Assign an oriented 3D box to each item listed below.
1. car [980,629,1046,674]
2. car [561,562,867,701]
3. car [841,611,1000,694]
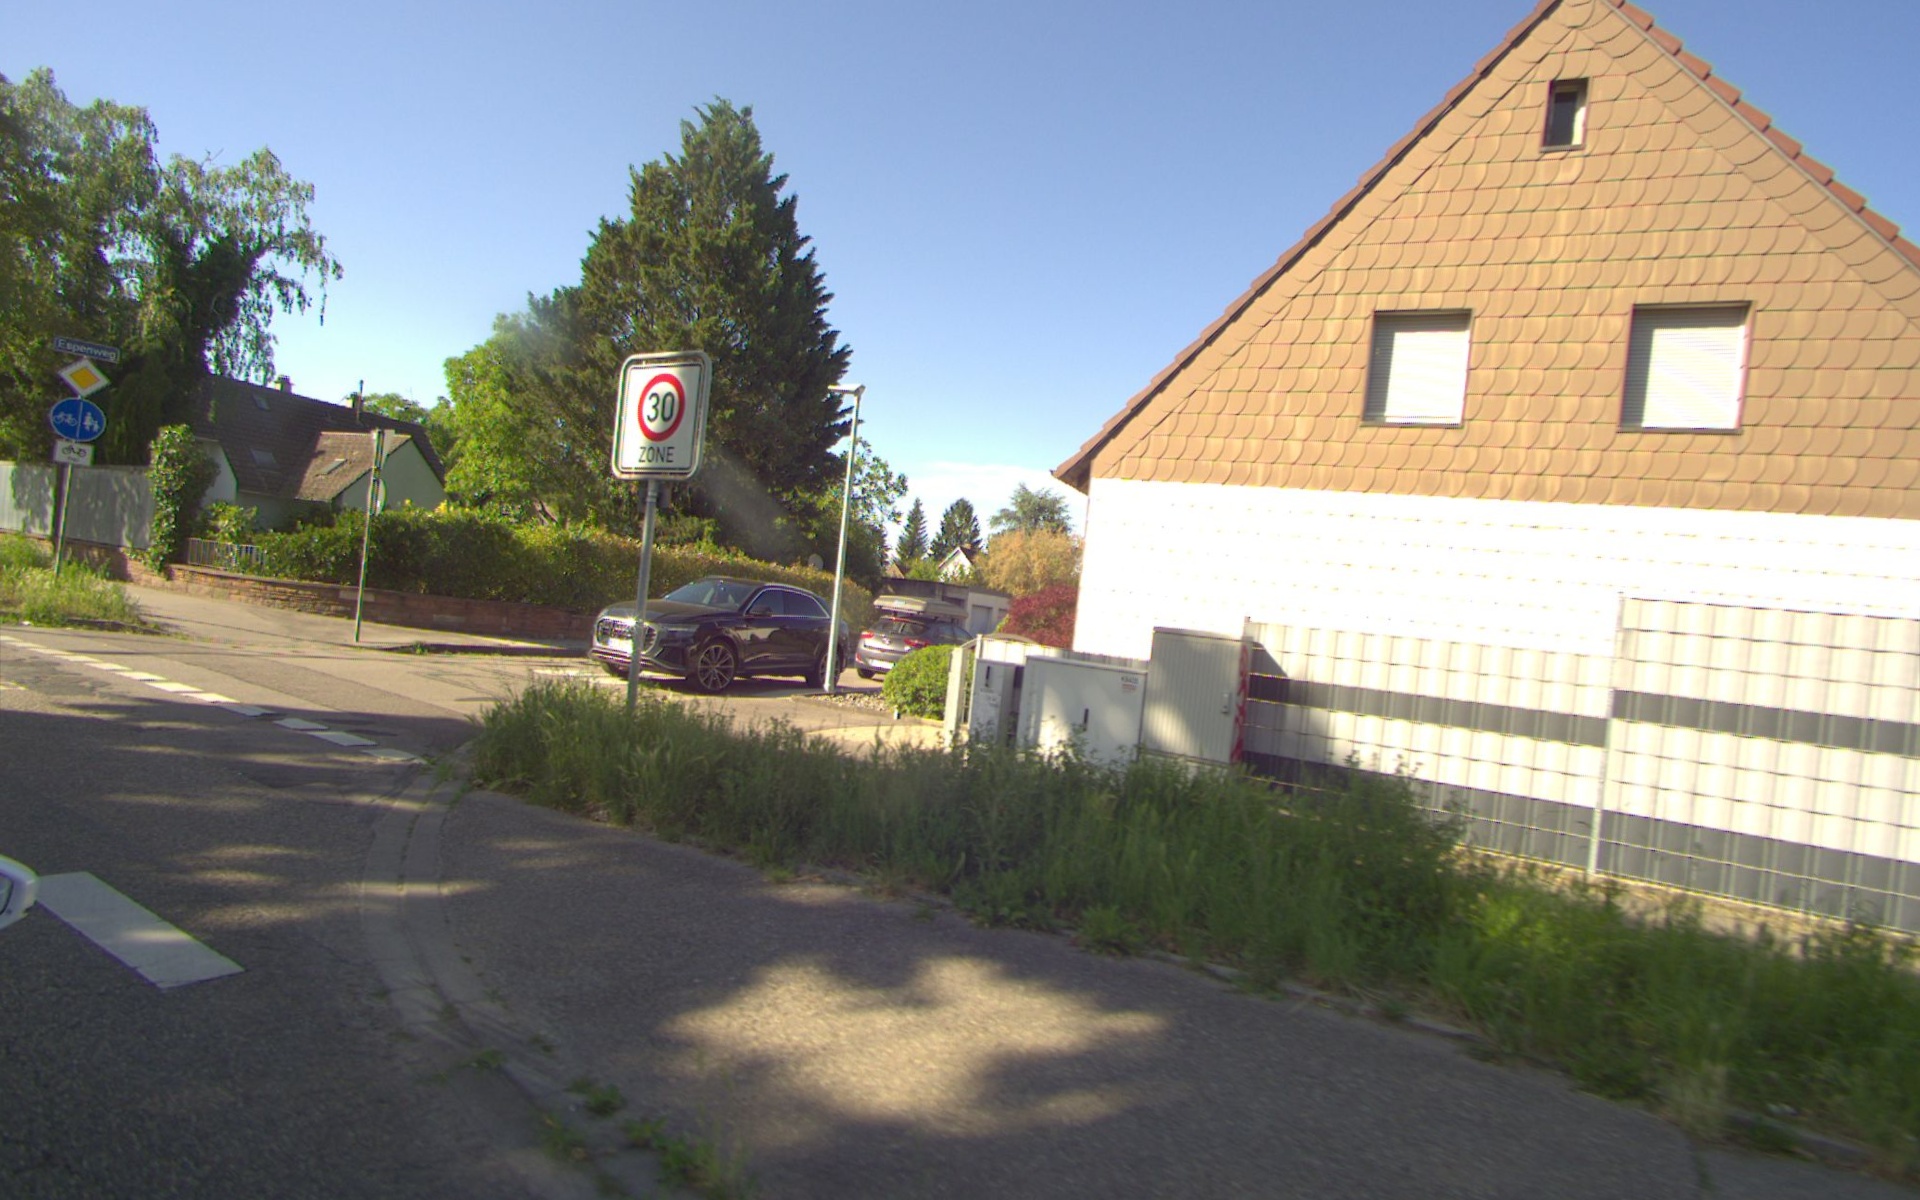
[{"bbox_3d":[2.445,2.380,45.642,1.600,1.784,3.608,7,-1,25],"label":"car"},{"bbox_3d":[-3.631,0.560,15.912,2.034,1.676,4.755,7,-1,25],"label":"car"},{"bbox_3d":[-0.746,1.178,22.083,1.756,1.455,3.931,7,-1,25],"label":"car"}]
